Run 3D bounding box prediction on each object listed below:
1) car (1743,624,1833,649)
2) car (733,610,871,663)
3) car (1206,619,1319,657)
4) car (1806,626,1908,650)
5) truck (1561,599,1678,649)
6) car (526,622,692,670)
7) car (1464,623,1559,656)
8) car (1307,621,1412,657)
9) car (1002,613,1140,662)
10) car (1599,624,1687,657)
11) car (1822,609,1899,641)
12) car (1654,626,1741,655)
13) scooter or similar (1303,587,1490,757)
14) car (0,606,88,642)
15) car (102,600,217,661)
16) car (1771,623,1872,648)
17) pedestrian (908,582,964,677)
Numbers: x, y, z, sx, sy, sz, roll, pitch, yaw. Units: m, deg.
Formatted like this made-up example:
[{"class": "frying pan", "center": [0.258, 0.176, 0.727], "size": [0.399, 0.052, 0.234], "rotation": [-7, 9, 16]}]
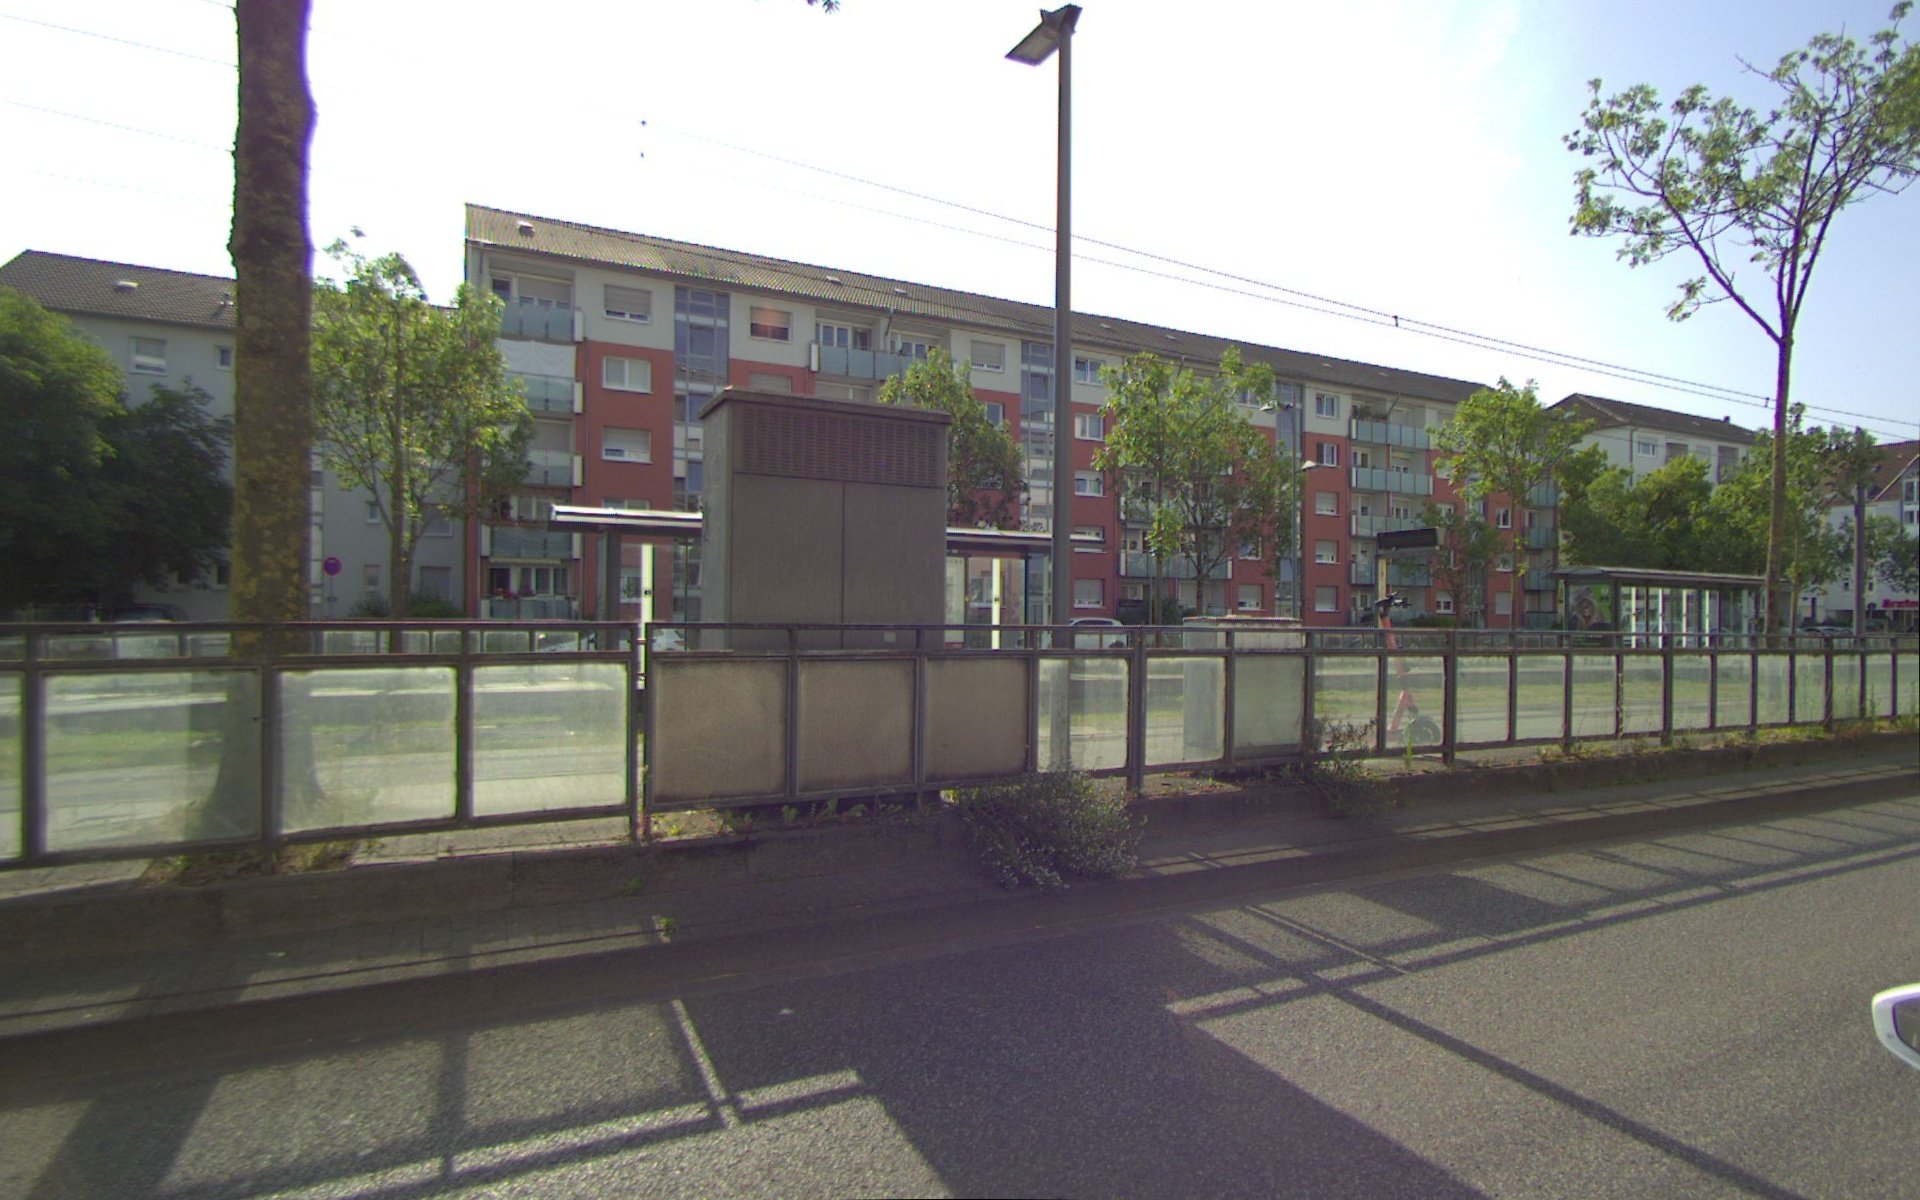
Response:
[{"class": "car", "center": [45.232, 1.973, 55.006], "size": [1.796, 1.261, 4.002], "rotation": [1, -1, 3]}, {"class": "car", "center": [-4.843, 1.096, 30.725], "size": [3.779, 1.490, 1.826], "rotation": [1, 1, -28]}, {"class": "car", "center": [11.945, 1.497, 39.652], "size": [4.019, 1.378, 1.972], "rotation": [1, 1, -28]}, {"class": "car", "center": [50.853, 2.136, 57.033], "size": [1.905, 1.261, 3.992], "rotation": [1, -1, -11]}, {"class": "truck", "center": [36.926, 1.365, 56.186], "size": [7.151, 2.597, 2.356], "rotation": [1, 1, -28]}, {"class": "car", "center": [-9.705, 1.257, 27.821], "size": [4.113, 1.163, 1.826], "rotation": [1, 1, -28]}, {"class": "car", "center": [25.416, 1.822, 46.315], "size": [4.019, 1.378, 1.972], "rotation": [1, 1, -28]}, {"class": "car", "center": [16.779, 1.613, 42.202], "size": [4.019, 1.378, 1.972], "rotation": [1, 1, -28]}, {"class": "car", "center": [3.910, 1.306, 35.319], "size": [4.480, 1.577, 1.972], "rotation": [1, 1, -28]}, {"class": "car", "center": [34.775, 2.047, 51.132], "size": [4.227, 1.533, 1.972], "rotation": [1, 1, -28]}, {"class": "car", "center": [62.751, 1.762, 69.996], "size": [5.245, 2.058, 2.356], "rotation": [1, 1, -28]}, {"class": "car", "center": [39.438, 2.158, 53.704], "size": [4.625, 1.397, 1.972], "rotation": [1, 1, -28]}, {"class": "scooter or similar", "center": [3.300, 0.539, 7.649], "size": [1.237, 1.255, 0.428], "rotation": [0, -1, 0]}, {"class": "car", "center": [-41.800, 1.081, 45.956], "size": [1.796, 1.495, 3.975], "rotation": [1, 1, -24]}, {"class": "car", "center": [-24.958, 0.900, 31.481], "size": [1.974, 1.717, 3.973], "rotation": [1, 1, -26]}, {"class": "car", "center": [48.321, 1.985, 56.433], "size": [1.905, 1.261, 3.992], "rotation": [1, -1, -11]}, {"class": "pedestrian", "center": [-0.434, 0.529, 18.244], "size": [0.786, 1.675, 0.668], "rotation": [1, -1, -32]}]
